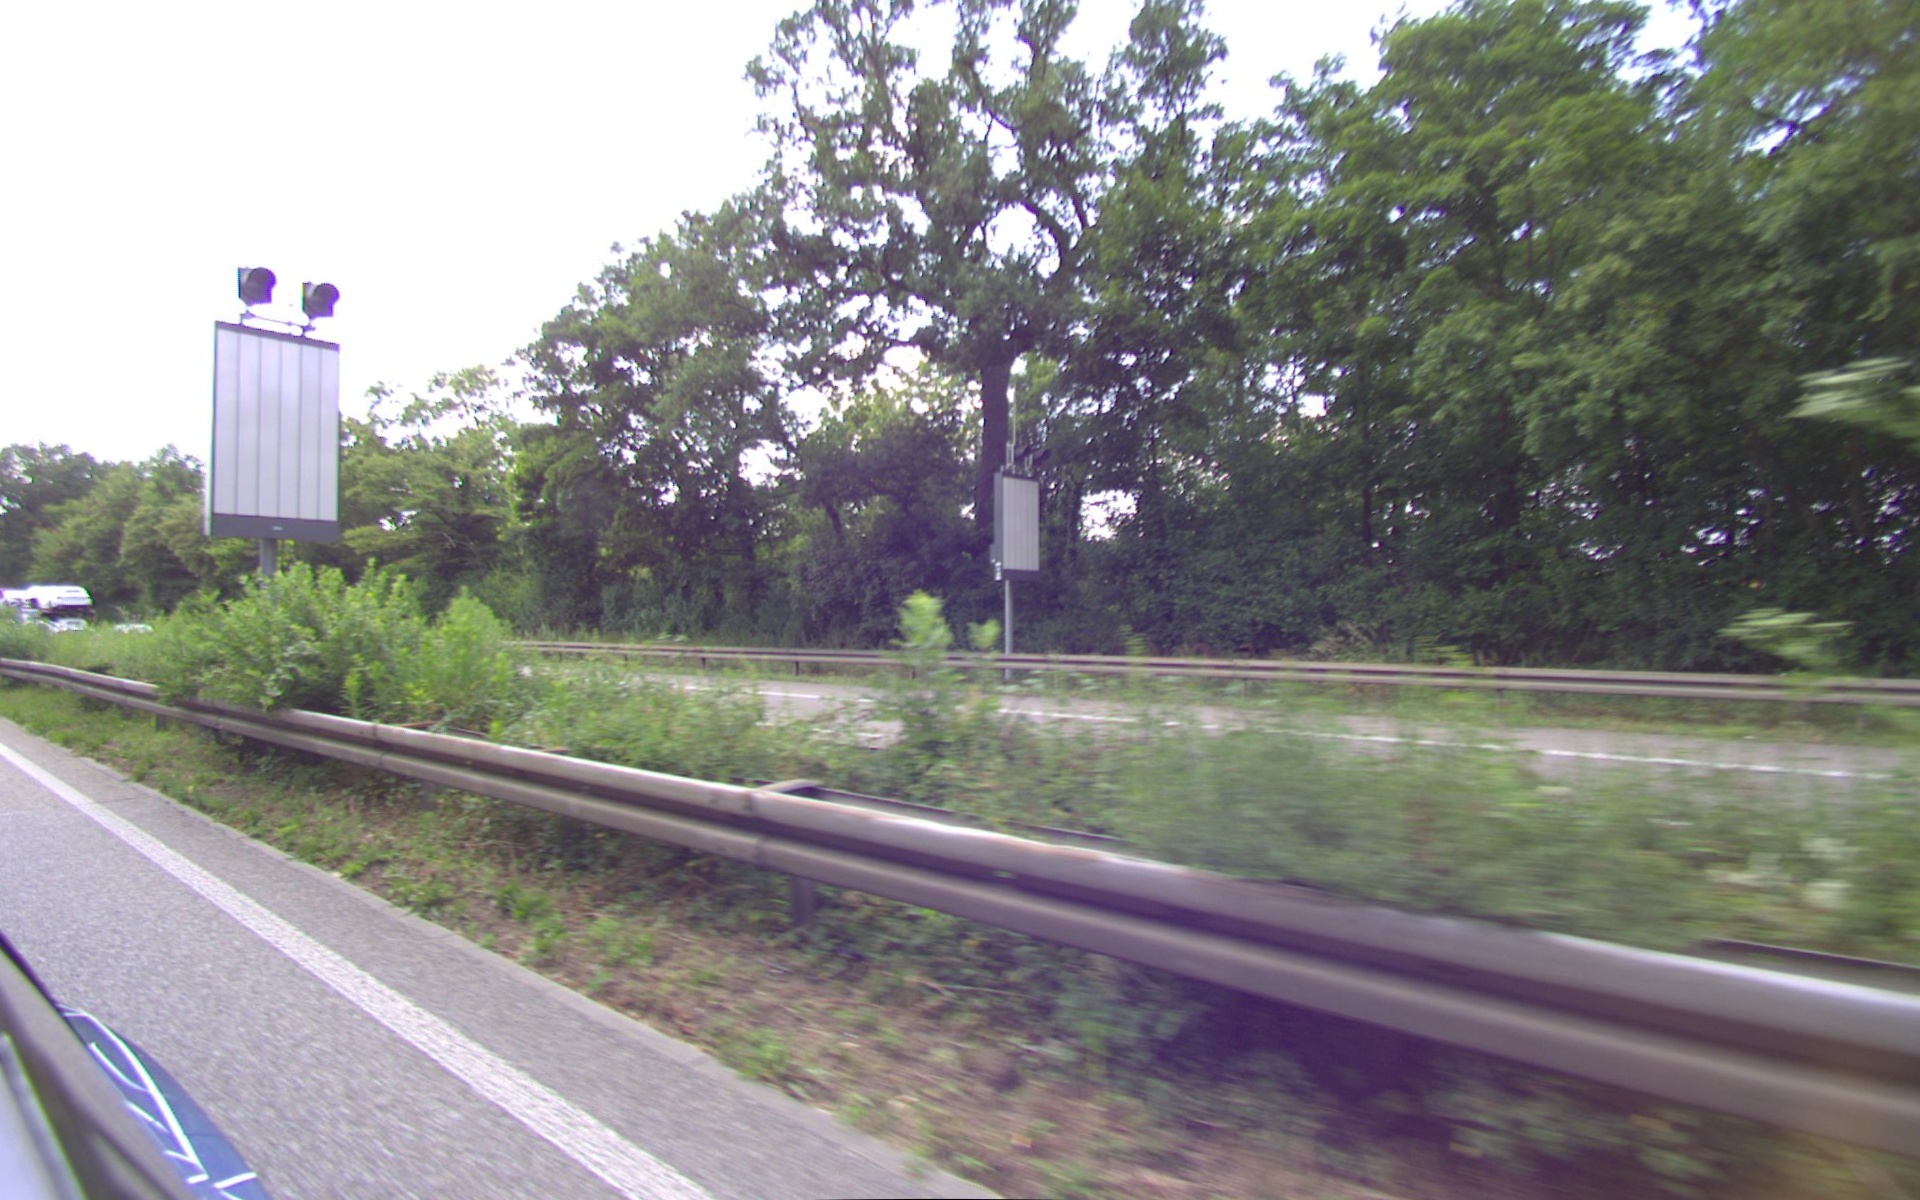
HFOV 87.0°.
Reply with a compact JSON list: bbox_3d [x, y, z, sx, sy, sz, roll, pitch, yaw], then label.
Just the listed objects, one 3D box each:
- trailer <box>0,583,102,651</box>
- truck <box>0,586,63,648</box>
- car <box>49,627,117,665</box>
[{"bbox_3d":[-55.419,1.074,61.552,10.297,3.862,2.909,-1,-2,39],"label":"trailer"},{"bbox_3d":[-63.409,1.199,68.030,10.312,3.885,2.926,-1,-2,39],"label":"truck"},{"bbox_3d":[-35.794,1.844,41.279,3.321,1.434,1.598,-1,-2,40],"label":"car"}]
